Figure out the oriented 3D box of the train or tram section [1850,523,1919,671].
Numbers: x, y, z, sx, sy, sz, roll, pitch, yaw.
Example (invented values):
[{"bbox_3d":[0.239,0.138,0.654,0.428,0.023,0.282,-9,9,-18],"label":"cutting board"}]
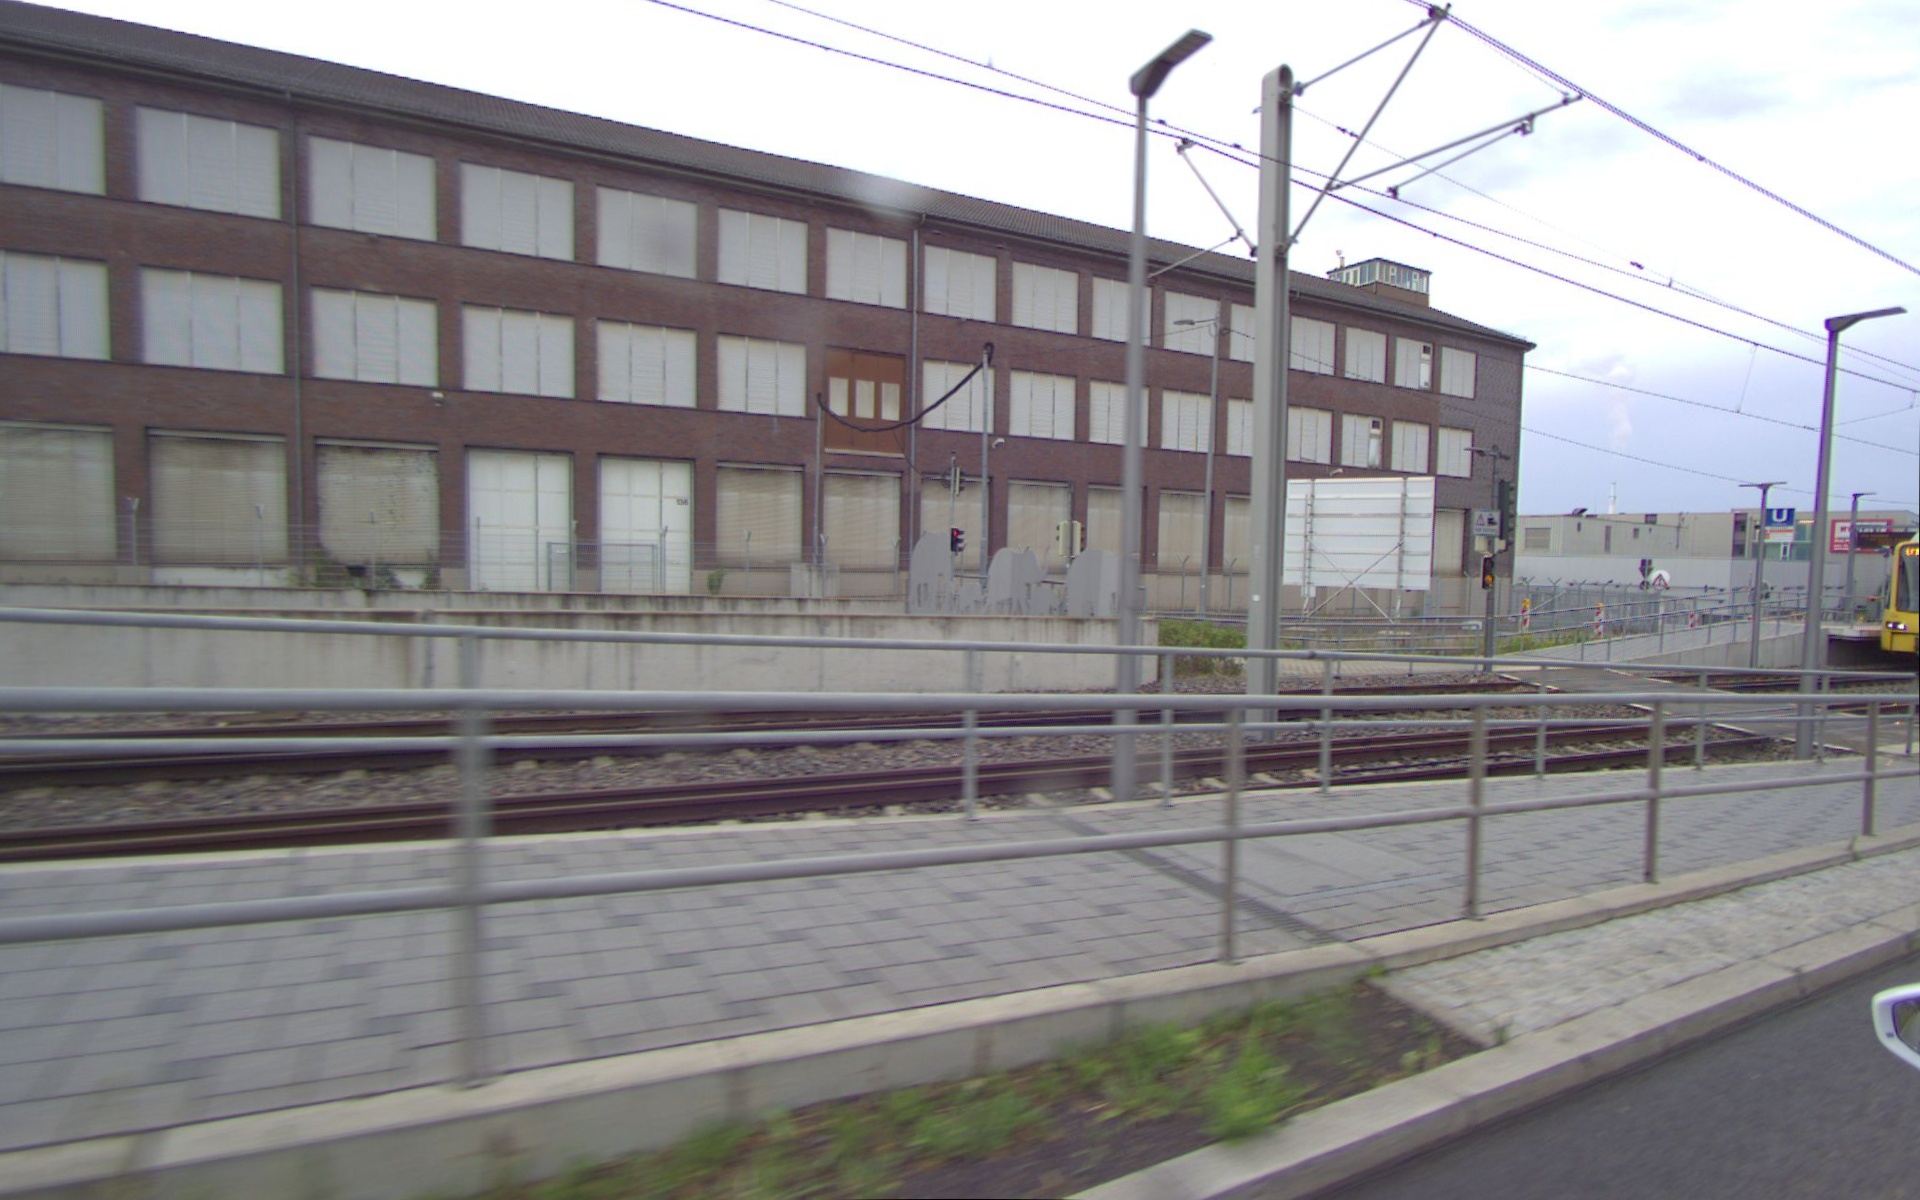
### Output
[{"bbox_3d":[33.724,0.083,31.798,19.357,3.938,2.938,1,2,-33],"label":"train or tram section"}]
